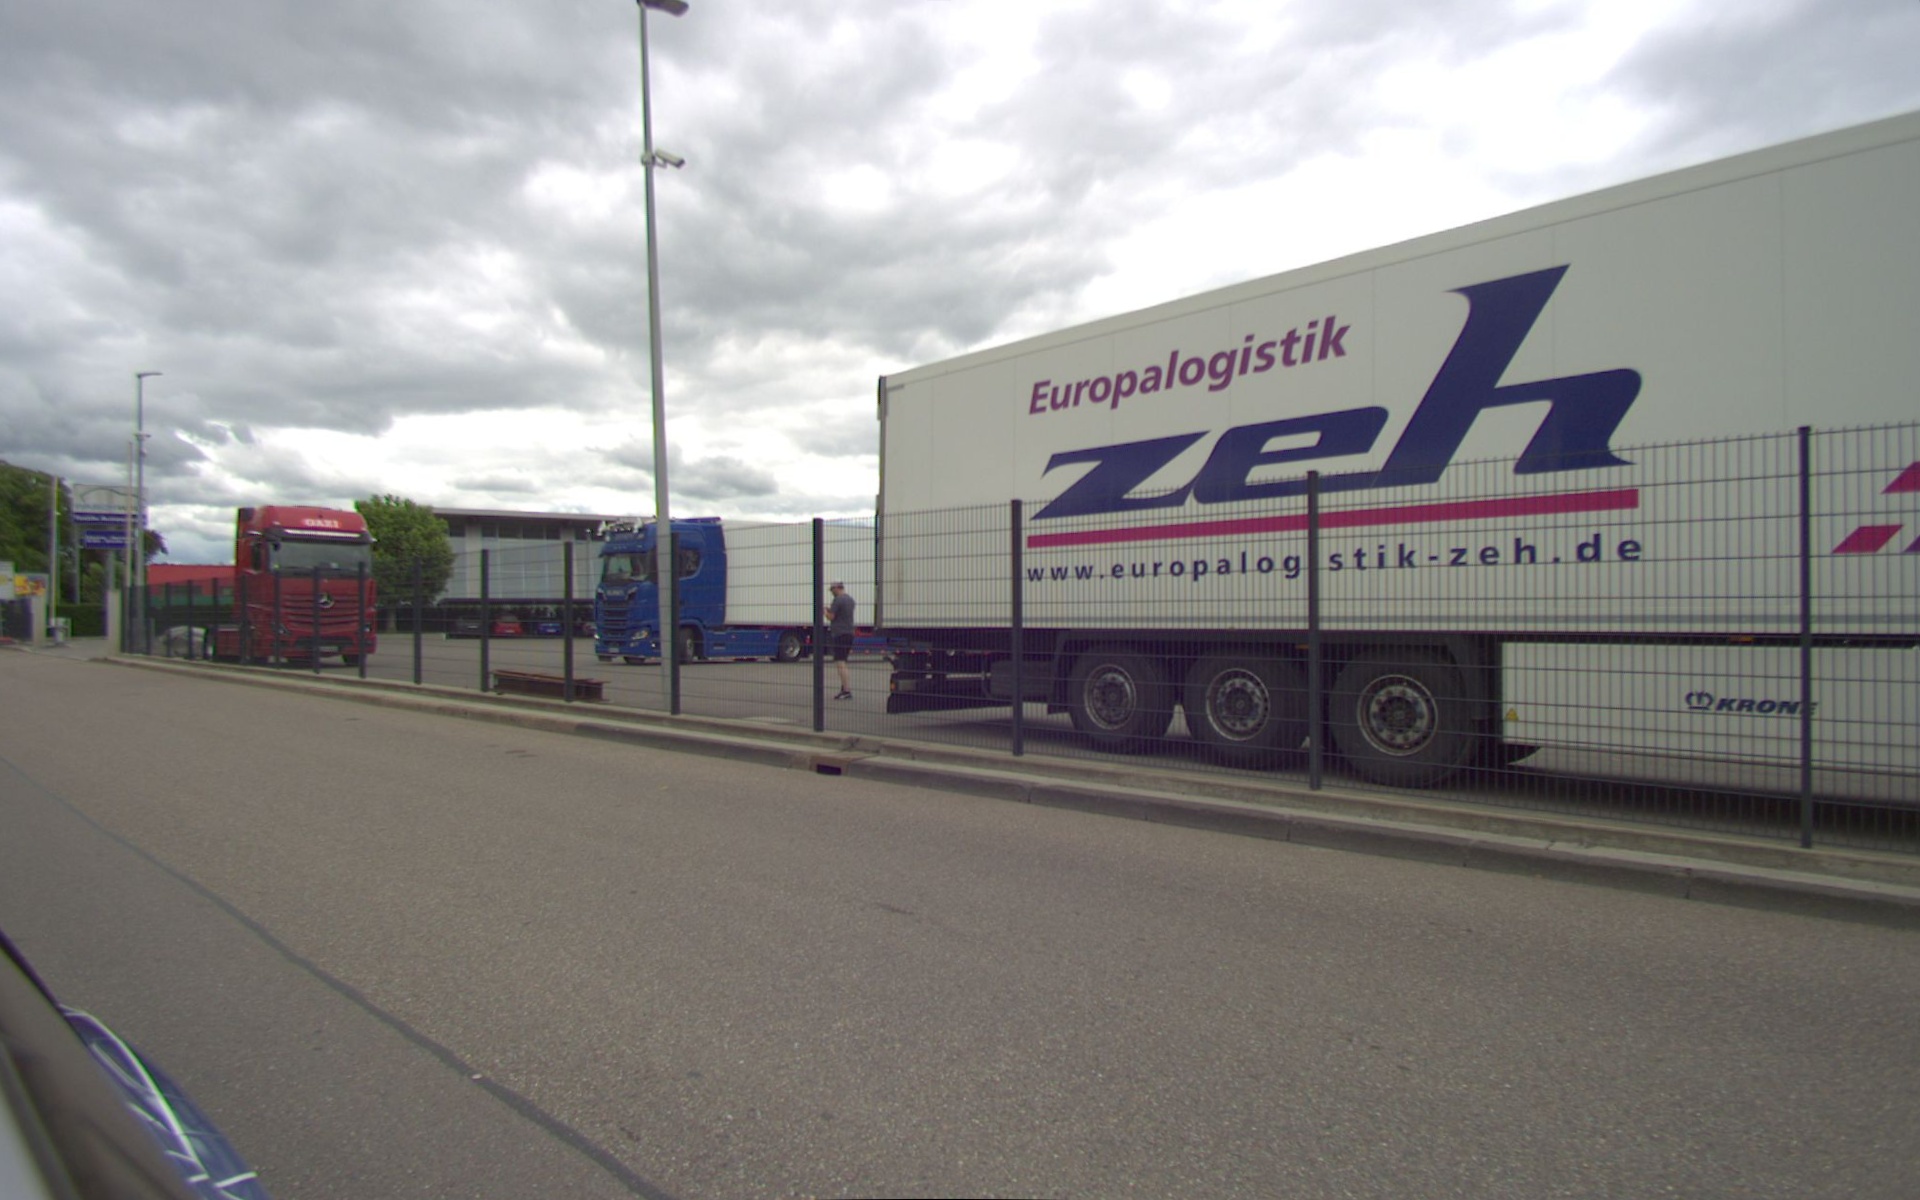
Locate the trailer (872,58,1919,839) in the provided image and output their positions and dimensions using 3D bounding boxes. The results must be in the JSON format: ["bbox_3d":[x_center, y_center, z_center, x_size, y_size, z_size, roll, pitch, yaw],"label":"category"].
[{"bbox_3d":[5.109,-0.740,7.759,13.855,4.192,3.321,-1,-3,45],"label":"trailer"}]

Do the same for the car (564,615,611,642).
[{"bbox_3d":[-25.037,1.897,68.019,1.967,1.730,4.009,0,-1,-36],"label":"car"}]

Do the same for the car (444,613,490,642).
[{"bbox_3d":[-31.274,1.715,64.108,1.967,1.730,4.009,0,-1,-36],"label":"car"}]

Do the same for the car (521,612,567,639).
[{"bbox_3d":[-27.682,1.657,67.263,1.967,1.730,4.009,0,-1,-36],"label":"car"}]

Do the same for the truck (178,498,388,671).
[{"bbox_3d":[-17.295,-0.252,25.740,5.668,3.878,2.982,-1,-3,41],"label":"truck"}]

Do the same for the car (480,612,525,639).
[{"bbox_3d":[-29.968,1.650,66.210,1.967,1.730,4.009,0,-1,-36],"label":"car"}]

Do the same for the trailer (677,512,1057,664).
[{"bbox_3d":[-2.628,-0.100,32.239,11.841,4.164,3.057,2,-3,-31],"label":"trailer"}]

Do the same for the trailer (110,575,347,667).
[{"bbox_3d":[-21.728,0.650,29.613,12.043,2.209,3.006,-1,-3,42],"label":"trailer"}]

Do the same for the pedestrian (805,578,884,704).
[{"bbox_3d":[-1.751,0.602,15.337,0.879,1.834,0.795,-1,-1,38],"label":"pedestrian"}]

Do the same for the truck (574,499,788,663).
[{"bbox_3d":[-7.734,-0.366,28.386,3.047,4.164,4.814,-1,-3,42],"label":"truck"}]
